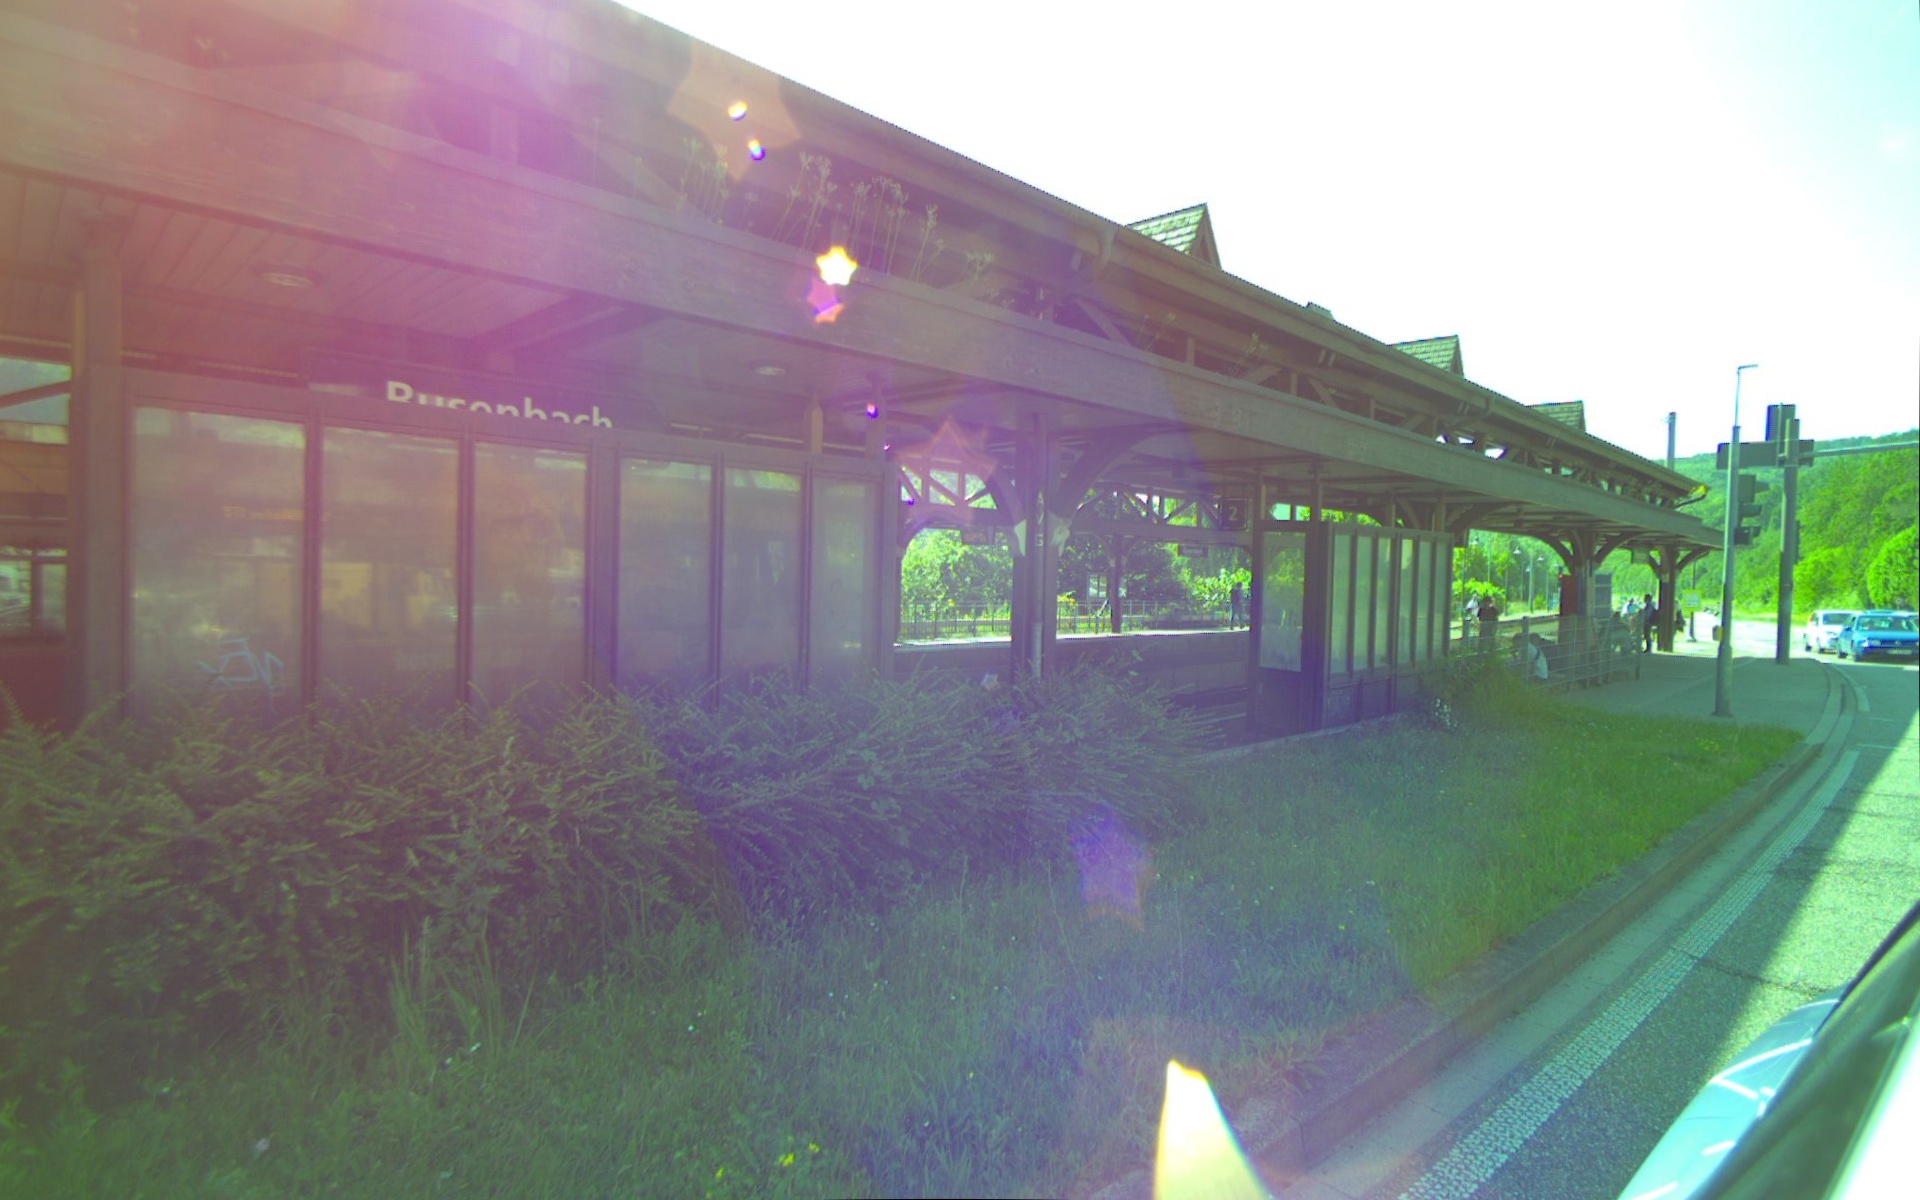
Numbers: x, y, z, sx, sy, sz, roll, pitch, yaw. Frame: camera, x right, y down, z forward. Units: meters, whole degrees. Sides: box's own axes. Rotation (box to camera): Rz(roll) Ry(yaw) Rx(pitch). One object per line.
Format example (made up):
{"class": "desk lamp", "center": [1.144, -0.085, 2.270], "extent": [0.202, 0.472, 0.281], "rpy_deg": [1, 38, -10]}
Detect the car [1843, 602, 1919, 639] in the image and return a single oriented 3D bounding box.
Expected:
{"class": "car", "center": [40.273, 0.895, 44.175], "extent": [1.965, 1.523, 3.941], "rpy_deg": [0, -1, 31]}

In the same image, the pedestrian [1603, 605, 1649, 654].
{"class": "pedestrian", "center": [17.413, 0.775, 26.453], "extent": [0.988, 1.251, 0.589], "rpy_deg": [-1, -2, 36]}

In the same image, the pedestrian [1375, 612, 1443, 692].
{"class": "pedestrian", "center": [6.544, 0.741, 14.756], "extent": [0.741, 1.131, 0.657], "rpy_deg": [-1, -2, 42]}

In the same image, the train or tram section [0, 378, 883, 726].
{"class": "train or tram section", "center": [-7.366, -0.484, 13.928], "extent": [14.119, 3.407, 2.857], "rpy_deg": [0, 0, -45]}

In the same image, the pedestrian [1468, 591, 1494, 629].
{"class": "pedestrian", "center": [23.548, 0.475, 45.754], "extent": [0.864, 1.706, 0.810], "rpy_deg": [-1, -2, 42]}

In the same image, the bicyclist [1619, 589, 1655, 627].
{"class": "bicyclist", "center": [28.157, 0.334, 42.071], "extent": [0.771, 1.589, 0.948], "rpy_deg": [0, -1, -12]}

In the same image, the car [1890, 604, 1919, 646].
{"class": "car", "center": [36.093, 0.933, 37.157], "extent": [1.965, 1.523, 4.697], "rpy_deg": [0, -1, 31]}

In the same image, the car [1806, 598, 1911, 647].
{"class": "car", "center": [31.124, 0.760, 35.190], "extent": [1.984, 1.605, 3.956], "rpy_deg": [-1, -1, 31]}

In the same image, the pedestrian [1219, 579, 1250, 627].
{"class": "pedestrian", "center": [9.992, 0.122, 36.806], "extent": [0.888, 1.706, 0.735], "rpy_deg": [2, -2, -41]}

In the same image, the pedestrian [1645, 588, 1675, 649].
{"class": "pedestrian", "center": [20.145, 0.518, 29.122], "extent": [0.655, 1.713, 0.730], "rpy_deg": [1, 0, 35]}

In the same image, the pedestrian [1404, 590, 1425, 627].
{"class": "pedestrian", "center": [21.245, 0.395, 47.283], "extent": [0.669, 1.706, 0.560], "rpy_deg": [1, -2, -20]}

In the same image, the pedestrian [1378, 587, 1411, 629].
{"class": "pedestrian", "center": [19.894, 0.383, 46.340], "extent": [1.054, 1.867, 0.989], "rpy_deg": [3, -2, -42]}

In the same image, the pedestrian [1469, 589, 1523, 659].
{"class": "pedestrian", "center": [12.404, 0.544, 23.419], "extent": [0.860, 1.567, 0.908], "rpy_deg": [1, -1, 43]}

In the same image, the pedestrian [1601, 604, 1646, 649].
{"class": "pedestrian", "center": [18.040, 0.704, 27.508], "extent": [1.003, 1.174, 0.937], "rpy_deg": [1, 0, 35]}

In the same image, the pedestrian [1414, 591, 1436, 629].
{"class": "pedestrian", "center": [21.250, 0.446, 46.218], "extent": [0.894, 1.706, 0.815], "rpy_deg": [0, -2, 26]}

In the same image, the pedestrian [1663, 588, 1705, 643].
{"class": "pedestrian", "center": [23.612, 0.506, 33.018], "extent": [0.908, 1.759, 1.239], "rpy_deg": [-1, -2, 27]}

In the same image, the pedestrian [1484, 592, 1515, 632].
{"class": "pedestrian", "center": [23.771, 0.528, 44.612], "extent": [0.805, 1.706, 0.905], "rpy_deg": [1, -2, -14]}

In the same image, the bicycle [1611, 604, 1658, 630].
{"class": "bicycle", "center": [28.079, 0.695, 42.161], "extent": [0.592, 1.069, 1.816], "rpy_deg": [0, -1, -6]}

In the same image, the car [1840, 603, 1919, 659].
{"class": "car", "center": [27.411, 0.867, 29.618], "extent": [1.853, 1.501, 4.251], "rpy_deg": [2, 1, 33]}

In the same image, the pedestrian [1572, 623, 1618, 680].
{"class": "pedestrian", "center": [11.252, 0.904, 17.933], "extent": [0.616, 0.978, 0.400], "rpy_deg": [-1, -2, 42]}

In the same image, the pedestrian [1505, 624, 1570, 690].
{"class": "pedestrian", "center": [9.108, 0.883, 15.955], "extent": [0.741, 0.995, 0.757], "rpy_deg": [-1, -2, 42]}

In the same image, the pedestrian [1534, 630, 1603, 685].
{"class": "pedestrian", "center": [10.150, 0.941, 16.875], "extent": [0.844, 0.885, 0.795], "rpy_deg": [-1, -2, 42]}
